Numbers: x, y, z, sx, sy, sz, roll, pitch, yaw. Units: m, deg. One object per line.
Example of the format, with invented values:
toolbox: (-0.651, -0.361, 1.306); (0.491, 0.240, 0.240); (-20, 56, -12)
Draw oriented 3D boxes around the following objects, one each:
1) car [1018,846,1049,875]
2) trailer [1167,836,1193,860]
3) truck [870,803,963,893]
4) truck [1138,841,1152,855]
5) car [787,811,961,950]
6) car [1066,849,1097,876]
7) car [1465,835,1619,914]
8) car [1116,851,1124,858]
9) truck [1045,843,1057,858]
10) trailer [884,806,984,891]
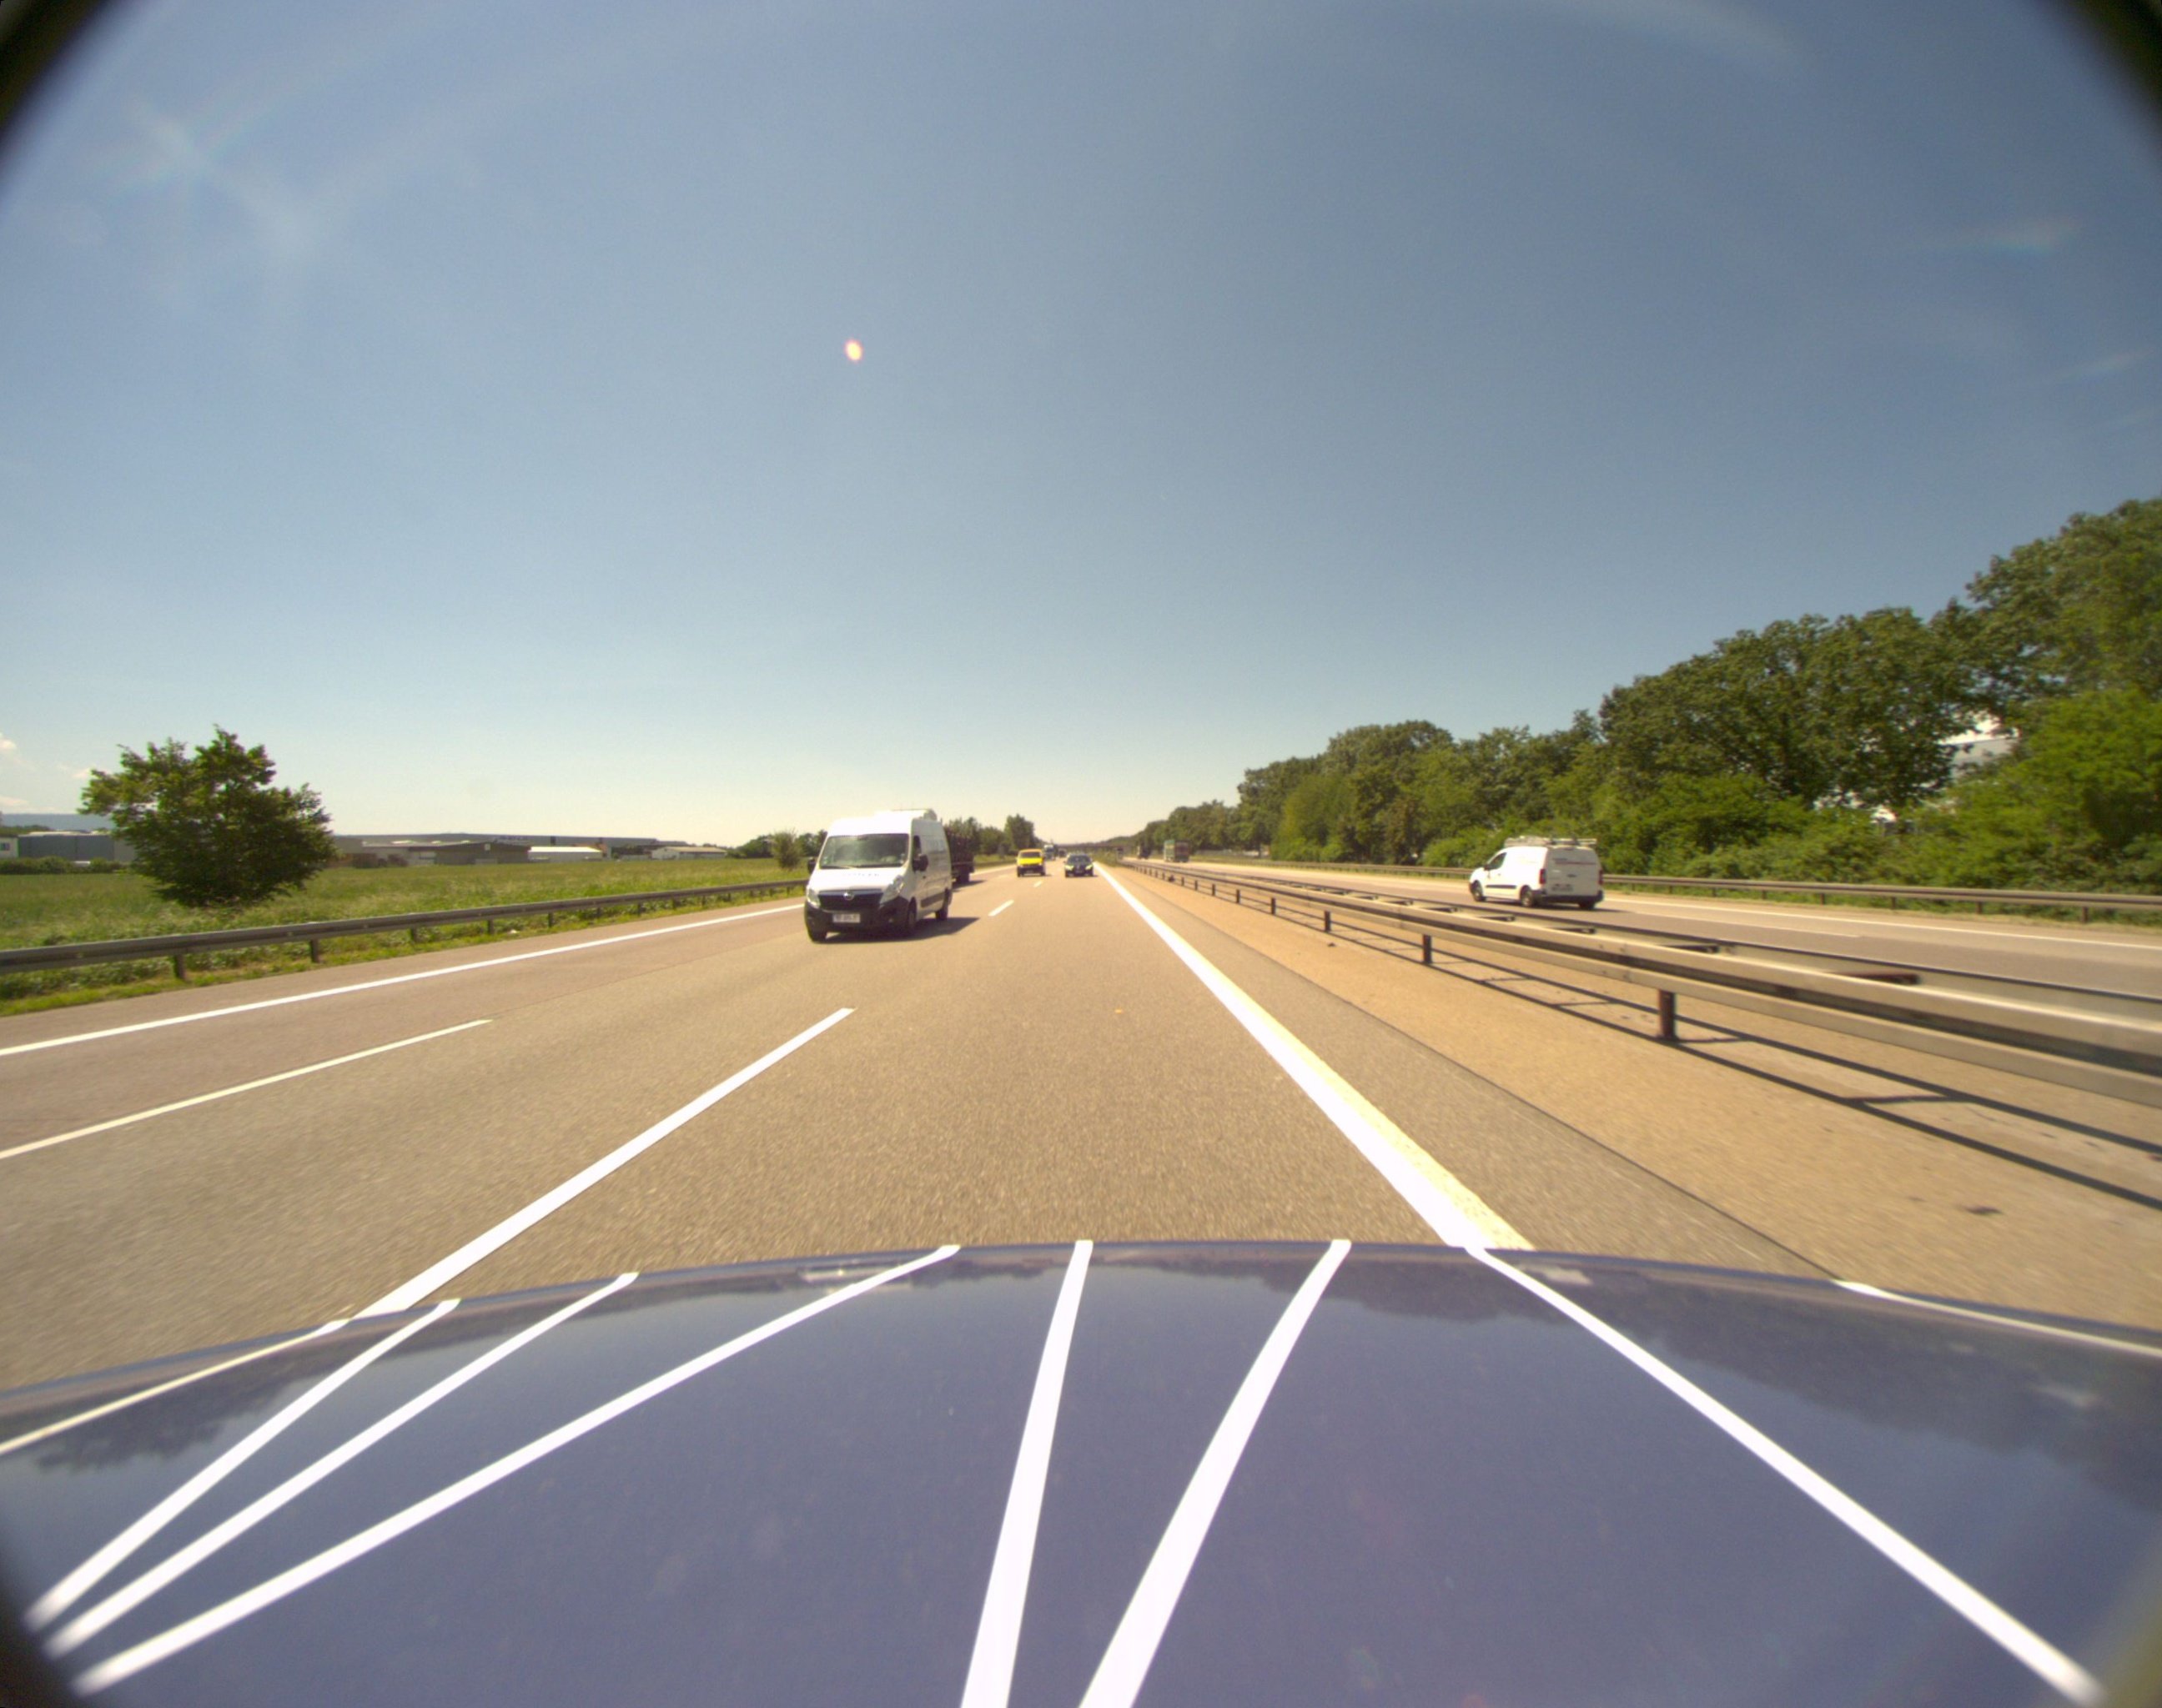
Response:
car: (-3.439, 0.422, 55.450); (1.958, 1.939, 3.999); (-2, 1, 0)
trailer: (17.519, -1.149, 135.273); (2.884, 4.020, 13.679); (1, 1, 1)
truck: (-7.996, -0.284, 37.961); (2.700, 3.943, 7.703); (-2, 0, 1)
truck: (17.679, -1.746, 211.265); (3.012, 3.769, 9.600); (-1, 1, 0)
car: (-4.291, 0.457, 17.045); (2.159, 2.494, 5.945); (-2, 1, 0)
car: (0.059, 0.529, 50.017); (1.689, 1.646, 3.463); (-2, 1, 5)
car: (13.037, 0.509, 21.865); (1.793, 2.002, 4.379); (1, 1, 1)
car: (13.177, 0.201, 258.423); (2.318, 2.275, 5.603); (1, 0, 1)
truck: (-7.563, -0.831, 193.599); (2.976, 3.626, 7.148); (-2, 1, -2)
trailer: (-7.933, -0.317, 43.378); (2.700, 3.943, 13.960); (-2, 0, 1)
